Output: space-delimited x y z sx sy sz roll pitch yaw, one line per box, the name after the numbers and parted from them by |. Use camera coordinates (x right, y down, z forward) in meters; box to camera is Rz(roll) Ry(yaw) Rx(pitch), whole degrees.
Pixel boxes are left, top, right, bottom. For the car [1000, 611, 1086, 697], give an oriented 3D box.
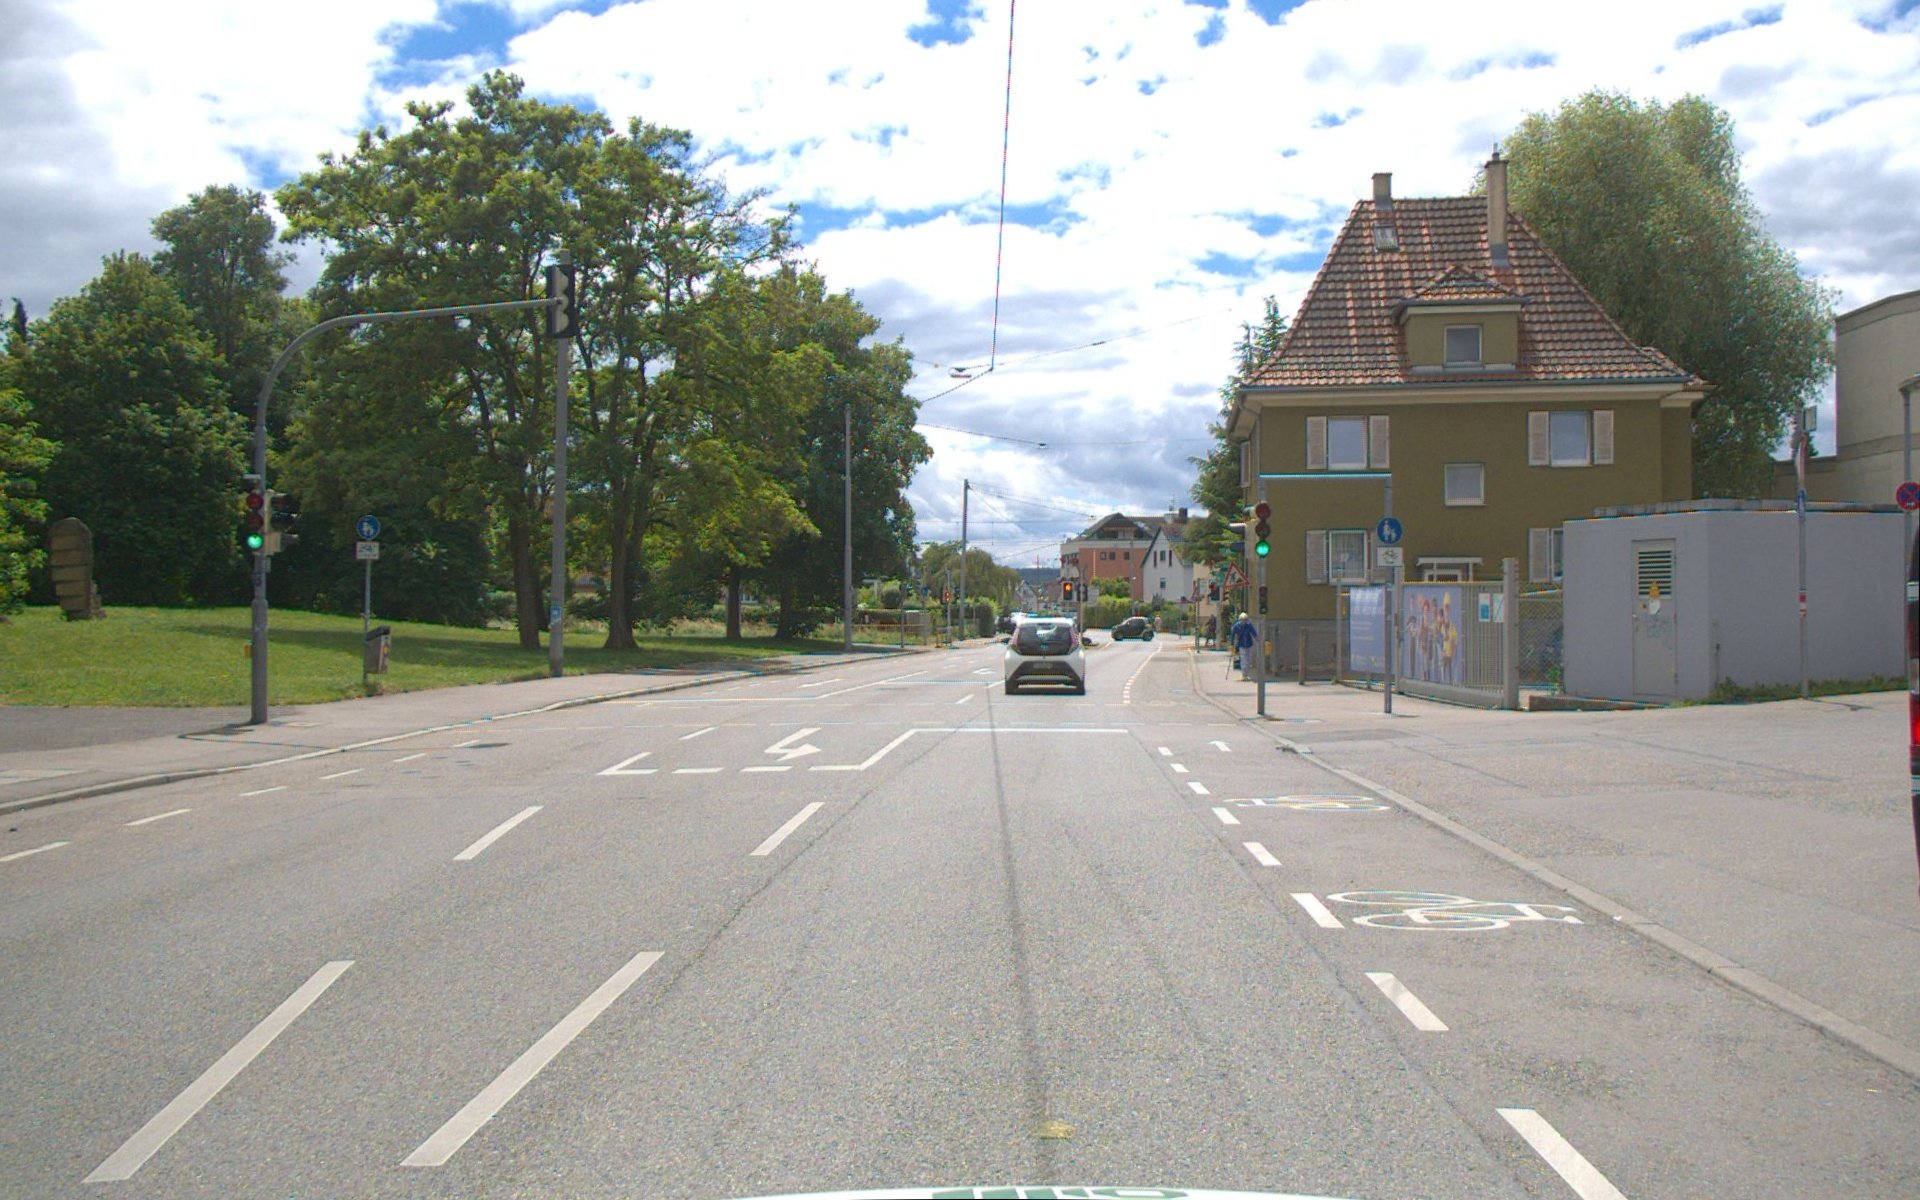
1.647 1.086 33.891 1.570 1.635 4.000 0 -1 0 | car

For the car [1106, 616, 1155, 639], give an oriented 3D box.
11.115 1.816 108.005 2.979 1.459 1.483 0 -1 -2 | car

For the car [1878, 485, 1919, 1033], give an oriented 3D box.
5.811 0.482 7.015 4.794 1.995 1.914 -2 -1 -43 | car

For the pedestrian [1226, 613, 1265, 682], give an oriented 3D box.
6.704 1.125 38.878 0.665 1.580 0.835 -2 -3 -3 | pedestrian
